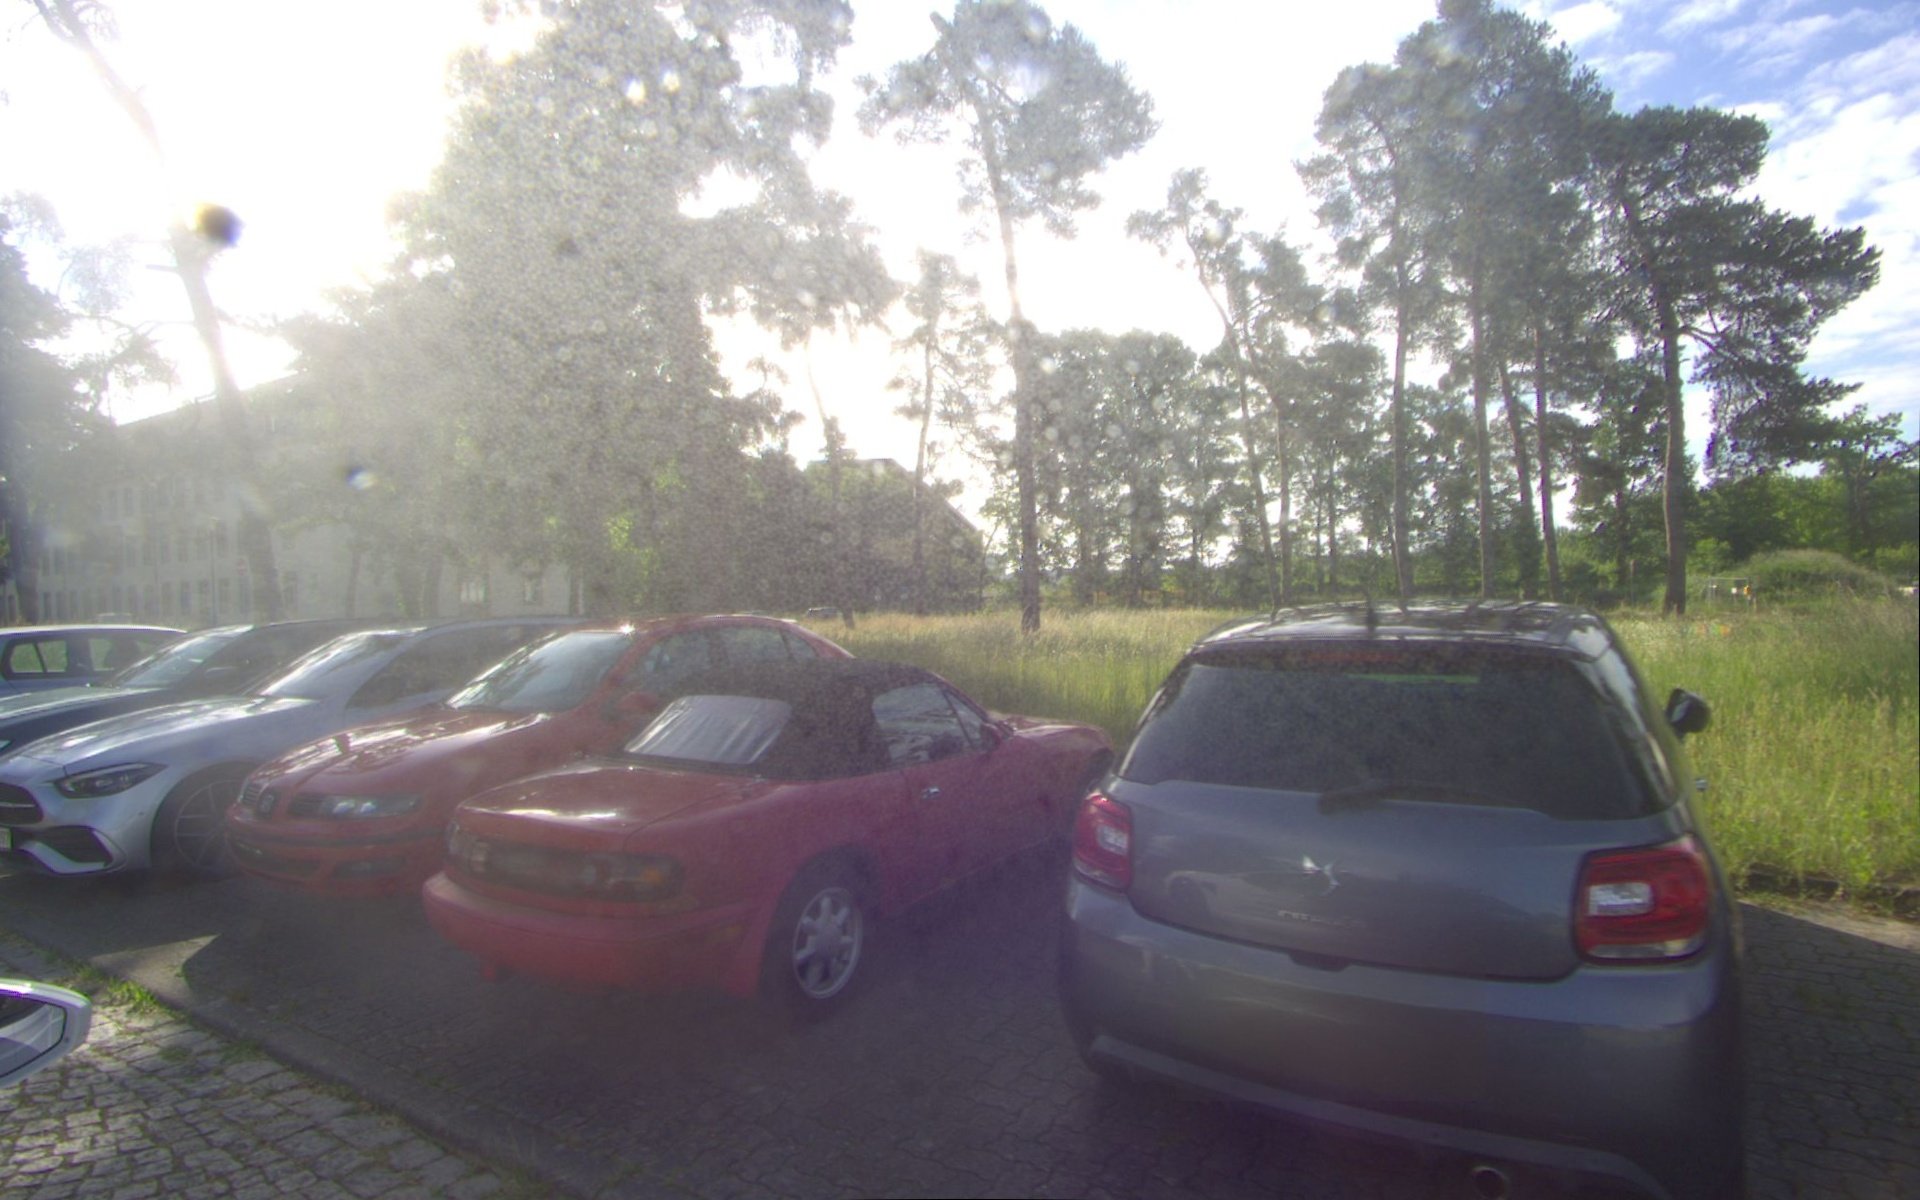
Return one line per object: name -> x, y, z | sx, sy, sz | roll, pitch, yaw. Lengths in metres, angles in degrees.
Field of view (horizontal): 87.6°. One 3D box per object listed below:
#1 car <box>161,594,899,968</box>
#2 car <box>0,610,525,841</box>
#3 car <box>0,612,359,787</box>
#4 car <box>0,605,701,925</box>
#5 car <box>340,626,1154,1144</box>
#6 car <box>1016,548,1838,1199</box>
car -> -2.273, 0.768, 6.422 | 1.613, 1.469, 4.116 | 0, 2, 33
car -> -6.423, 0.907, 8.869 | 1.613, 1.434, 4.547 | 0, 2, 33
car -> -8.698, 0.933, 10.399 | 1.613, 1.434, 3.871 | 0, 2, 33
car -> -4.206, 0.852, 7.366 | 1.755, 1.434, 4.420 | 0, 2, 33
car -> -0.580, 0.857, 4.832 | 1.722, 1.240, 3.697 | 0, 2, 33
car -> 1.911, 0.577, 3.979 | 1.790, 1.469, 3.697 | 0, 2, 32
